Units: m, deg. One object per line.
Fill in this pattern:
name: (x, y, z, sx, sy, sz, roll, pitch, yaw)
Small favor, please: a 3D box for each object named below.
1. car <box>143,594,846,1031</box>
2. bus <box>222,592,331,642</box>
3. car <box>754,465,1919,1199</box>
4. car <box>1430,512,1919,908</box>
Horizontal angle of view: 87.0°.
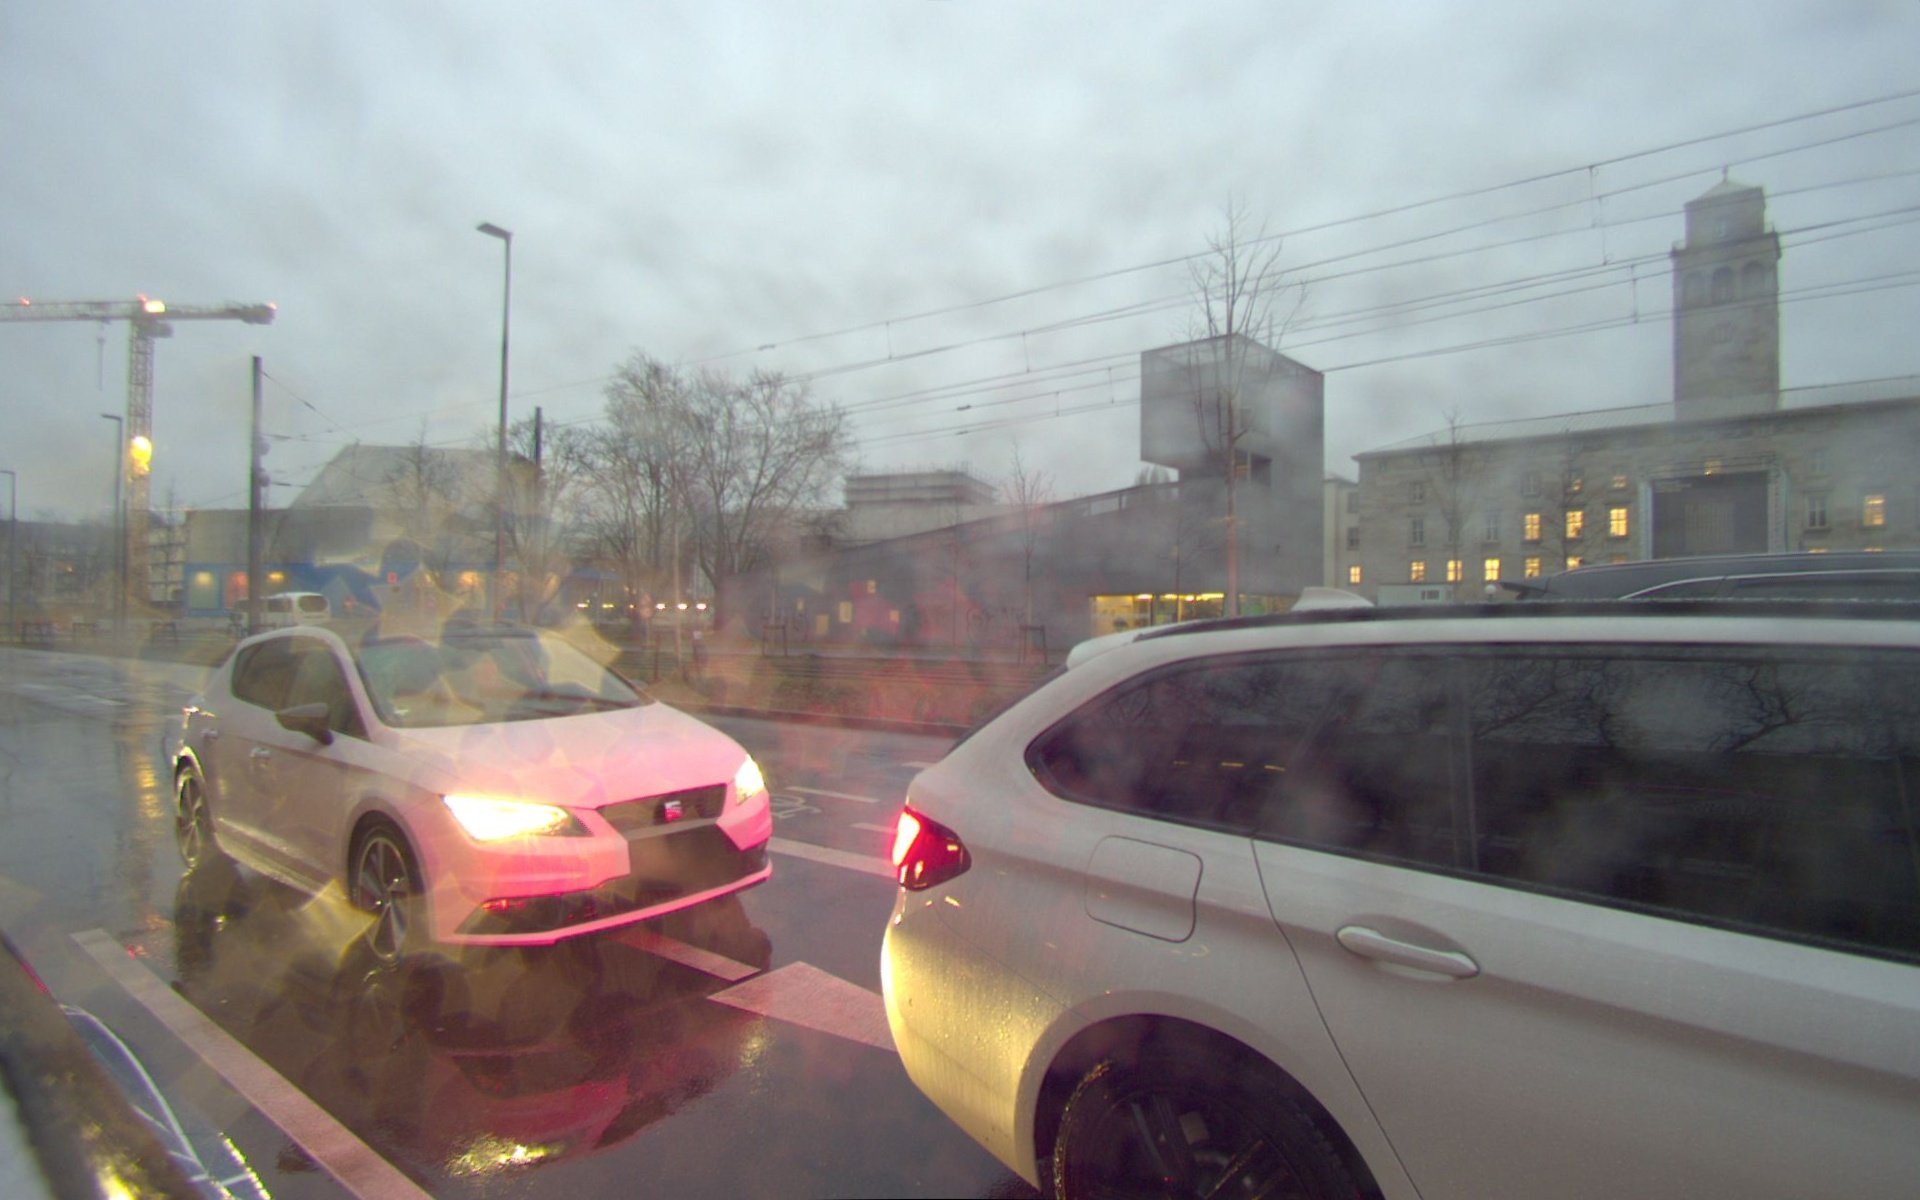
car: (-2.701, 0.755, 5.431, 4.124, 1.486, 1.757, -1, -1, 38)
bus: (-53.331, 1.347, 78.804, 12.277, 3.605, 2.783, -1, -2, 35)
car: (1.958, 0.621, 1.731, 4.919, 1.532, 1.890, -1, -2, 40)
car: (4.993, 0.499, 4.994, 4.605, 1.756, 1.686, -1, -2, 38)
